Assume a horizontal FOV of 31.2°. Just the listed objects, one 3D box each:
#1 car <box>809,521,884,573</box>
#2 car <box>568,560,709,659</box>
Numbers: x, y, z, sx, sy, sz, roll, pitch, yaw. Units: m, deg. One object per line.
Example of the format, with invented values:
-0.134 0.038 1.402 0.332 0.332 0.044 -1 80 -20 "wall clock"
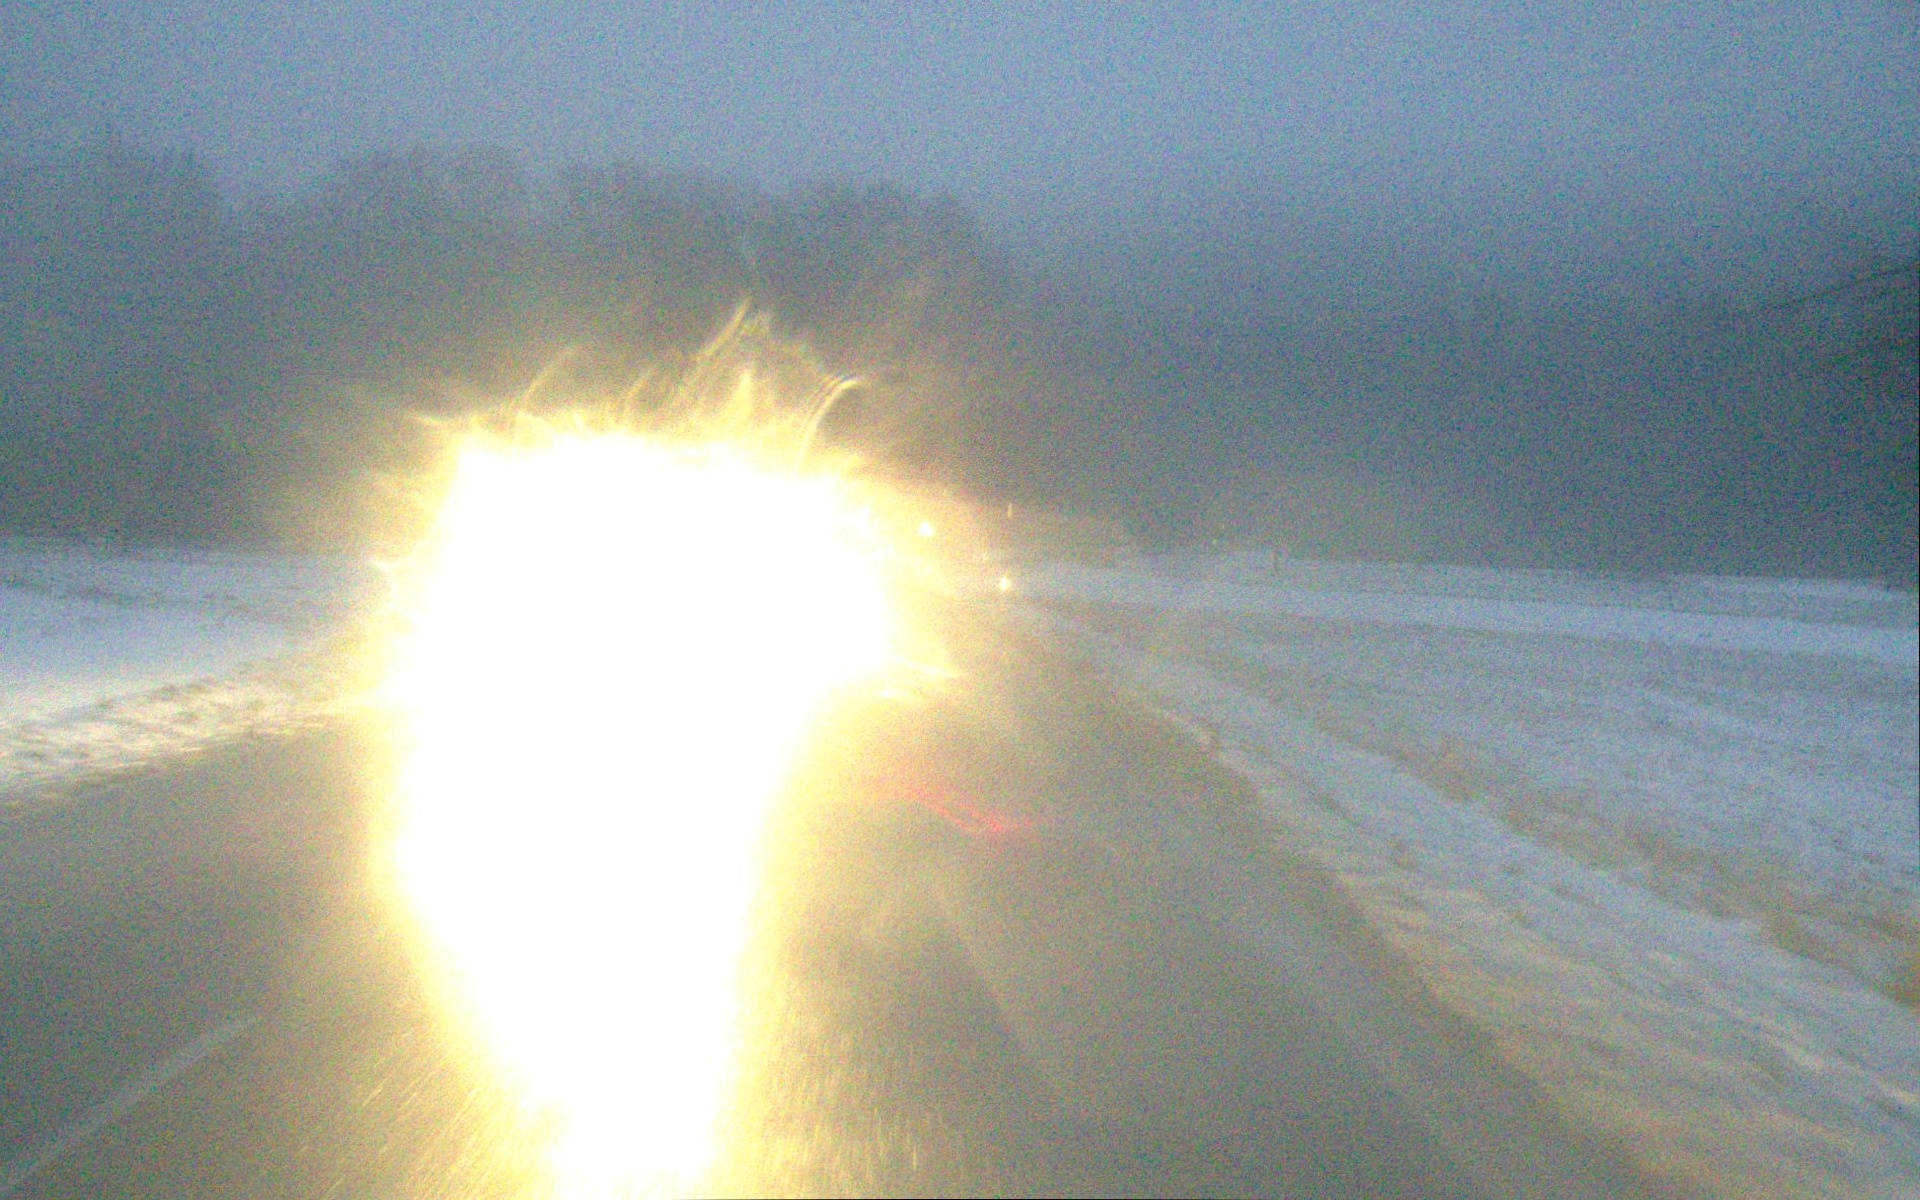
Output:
-4.749 -2.220 144.595 1.995 2.045 3.997 2 1 15 "car"
-4.713 0.112 50.857 1.727 1.341 4.222 -2 1 -1 "car"
